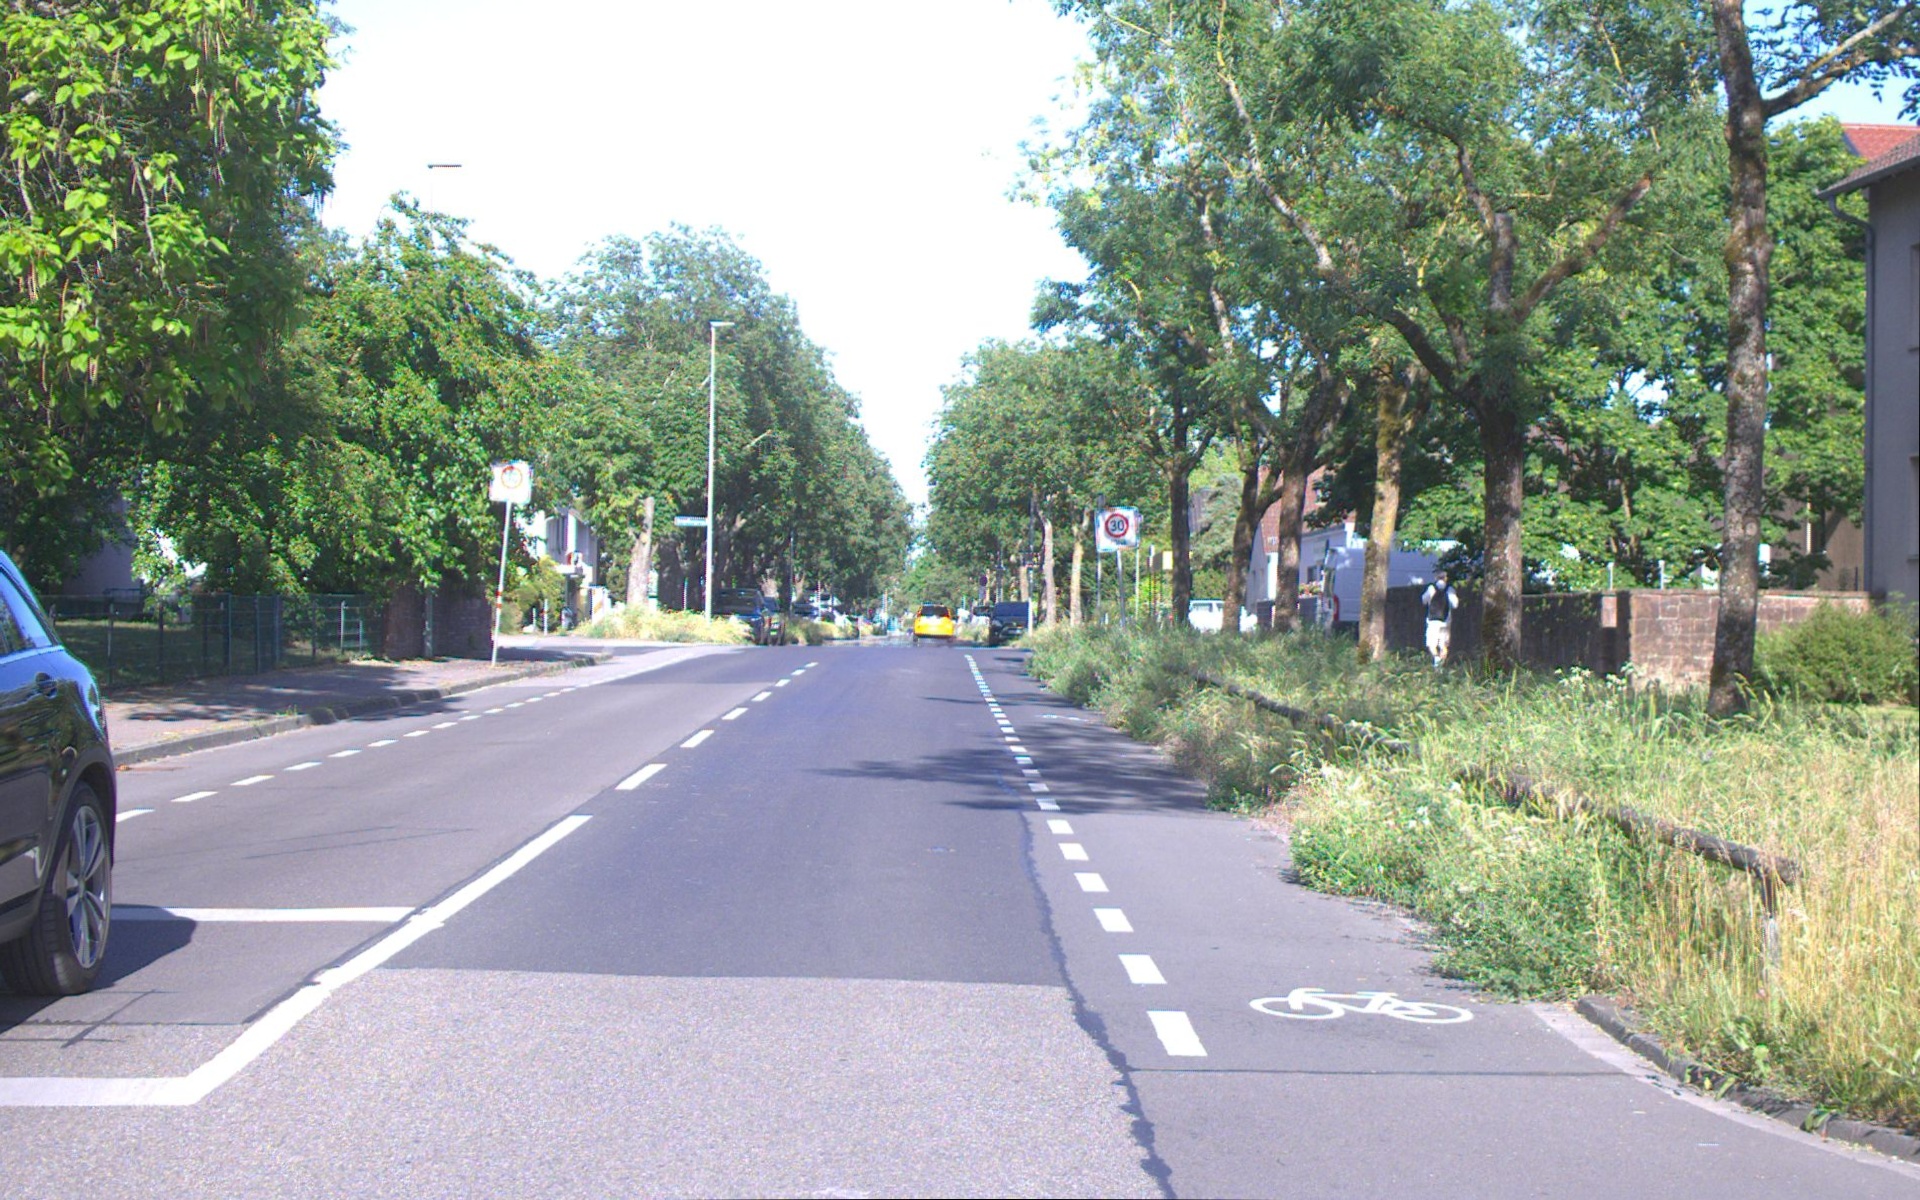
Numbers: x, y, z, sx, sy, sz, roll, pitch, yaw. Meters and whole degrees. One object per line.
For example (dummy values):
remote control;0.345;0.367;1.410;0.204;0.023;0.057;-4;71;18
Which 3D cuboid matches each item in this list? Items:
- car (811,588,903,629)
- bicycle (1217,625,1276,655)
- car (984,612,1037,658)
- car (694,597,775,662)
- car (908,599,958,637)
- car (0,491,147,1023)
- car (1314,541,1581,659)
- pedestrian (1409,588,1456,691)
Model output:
car;-6.305;0.514;210.967;5.498;2.240;2.517;3;1;-2
bicycle;9.793;1.379;117.391;1.957;0.995;0.576;0;1;-2
car;1.887;1.320;128.698;1.853;1.620;4.469;0;-1;-1
car;-6.576;0.883;100.659;1.953;1.721;4.874;3;-2;1
car;-1.157;0.771;147.002;1.887;1.474;3.888;3;-1;-3
car;-3.824;0.487;10.053;1.815;1.612;4.392;-1;0;0
car;10.972;0.005;77.645;5.594;2.530;2.266;1;0;-3
pedestrian;7.888;0.655;57.406;0.637;1.700;0.612;-1;1;-1
